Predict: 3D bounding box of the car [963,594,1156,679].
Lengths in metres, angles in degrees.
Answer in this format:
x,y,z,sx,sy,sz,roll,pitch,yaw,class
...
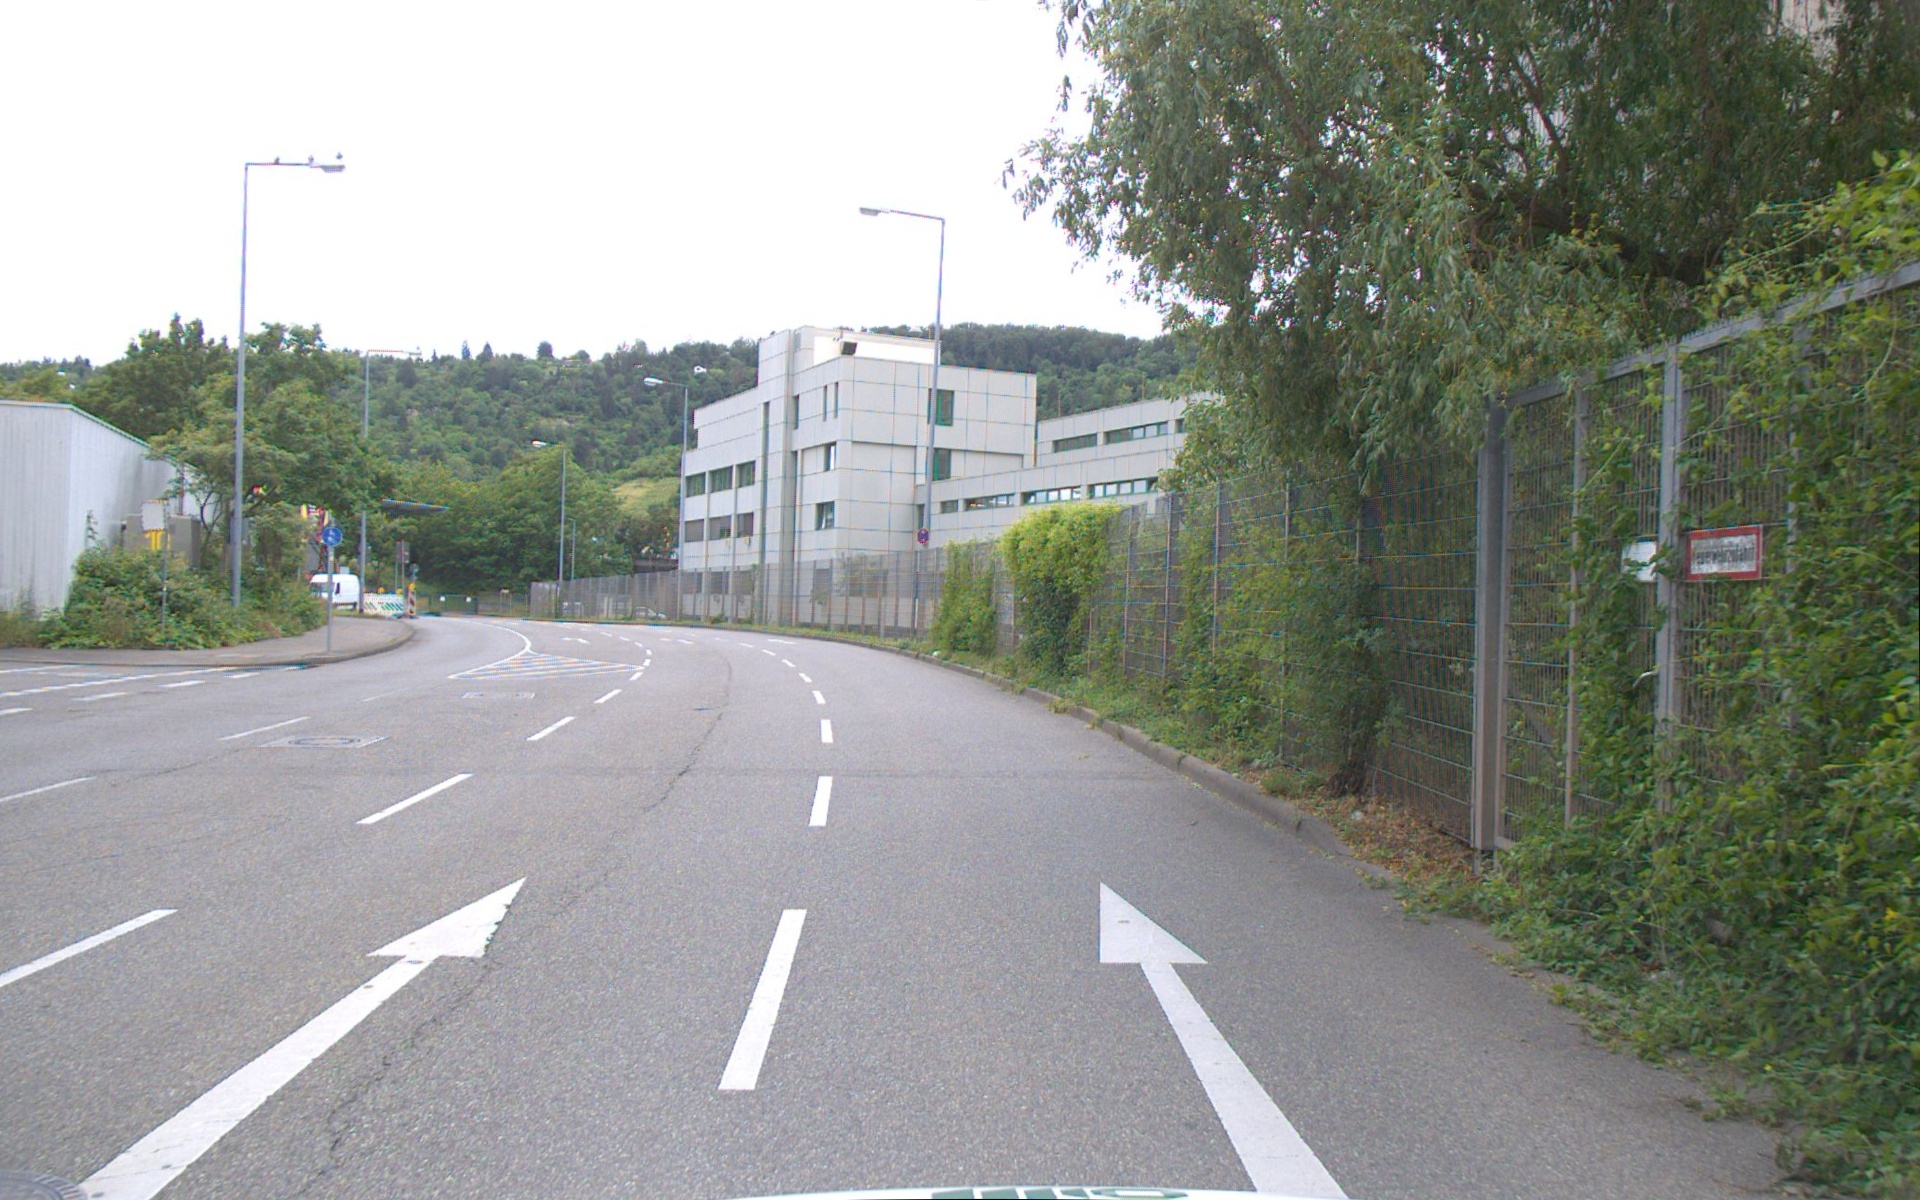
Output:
x,y,z,sx,sy,sz,roll,pitch,yaw,class
2.910,1.056,49.807,1.983,2.302,6.074,3,-1,-43,car

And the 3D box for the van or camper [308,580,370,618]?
x,y,z,sx,sy,sz,roll,pitch,yaw,class
-42.640,-0.015,113.768,1.968,2.367,6.648,2,-2,-3,van or camper
